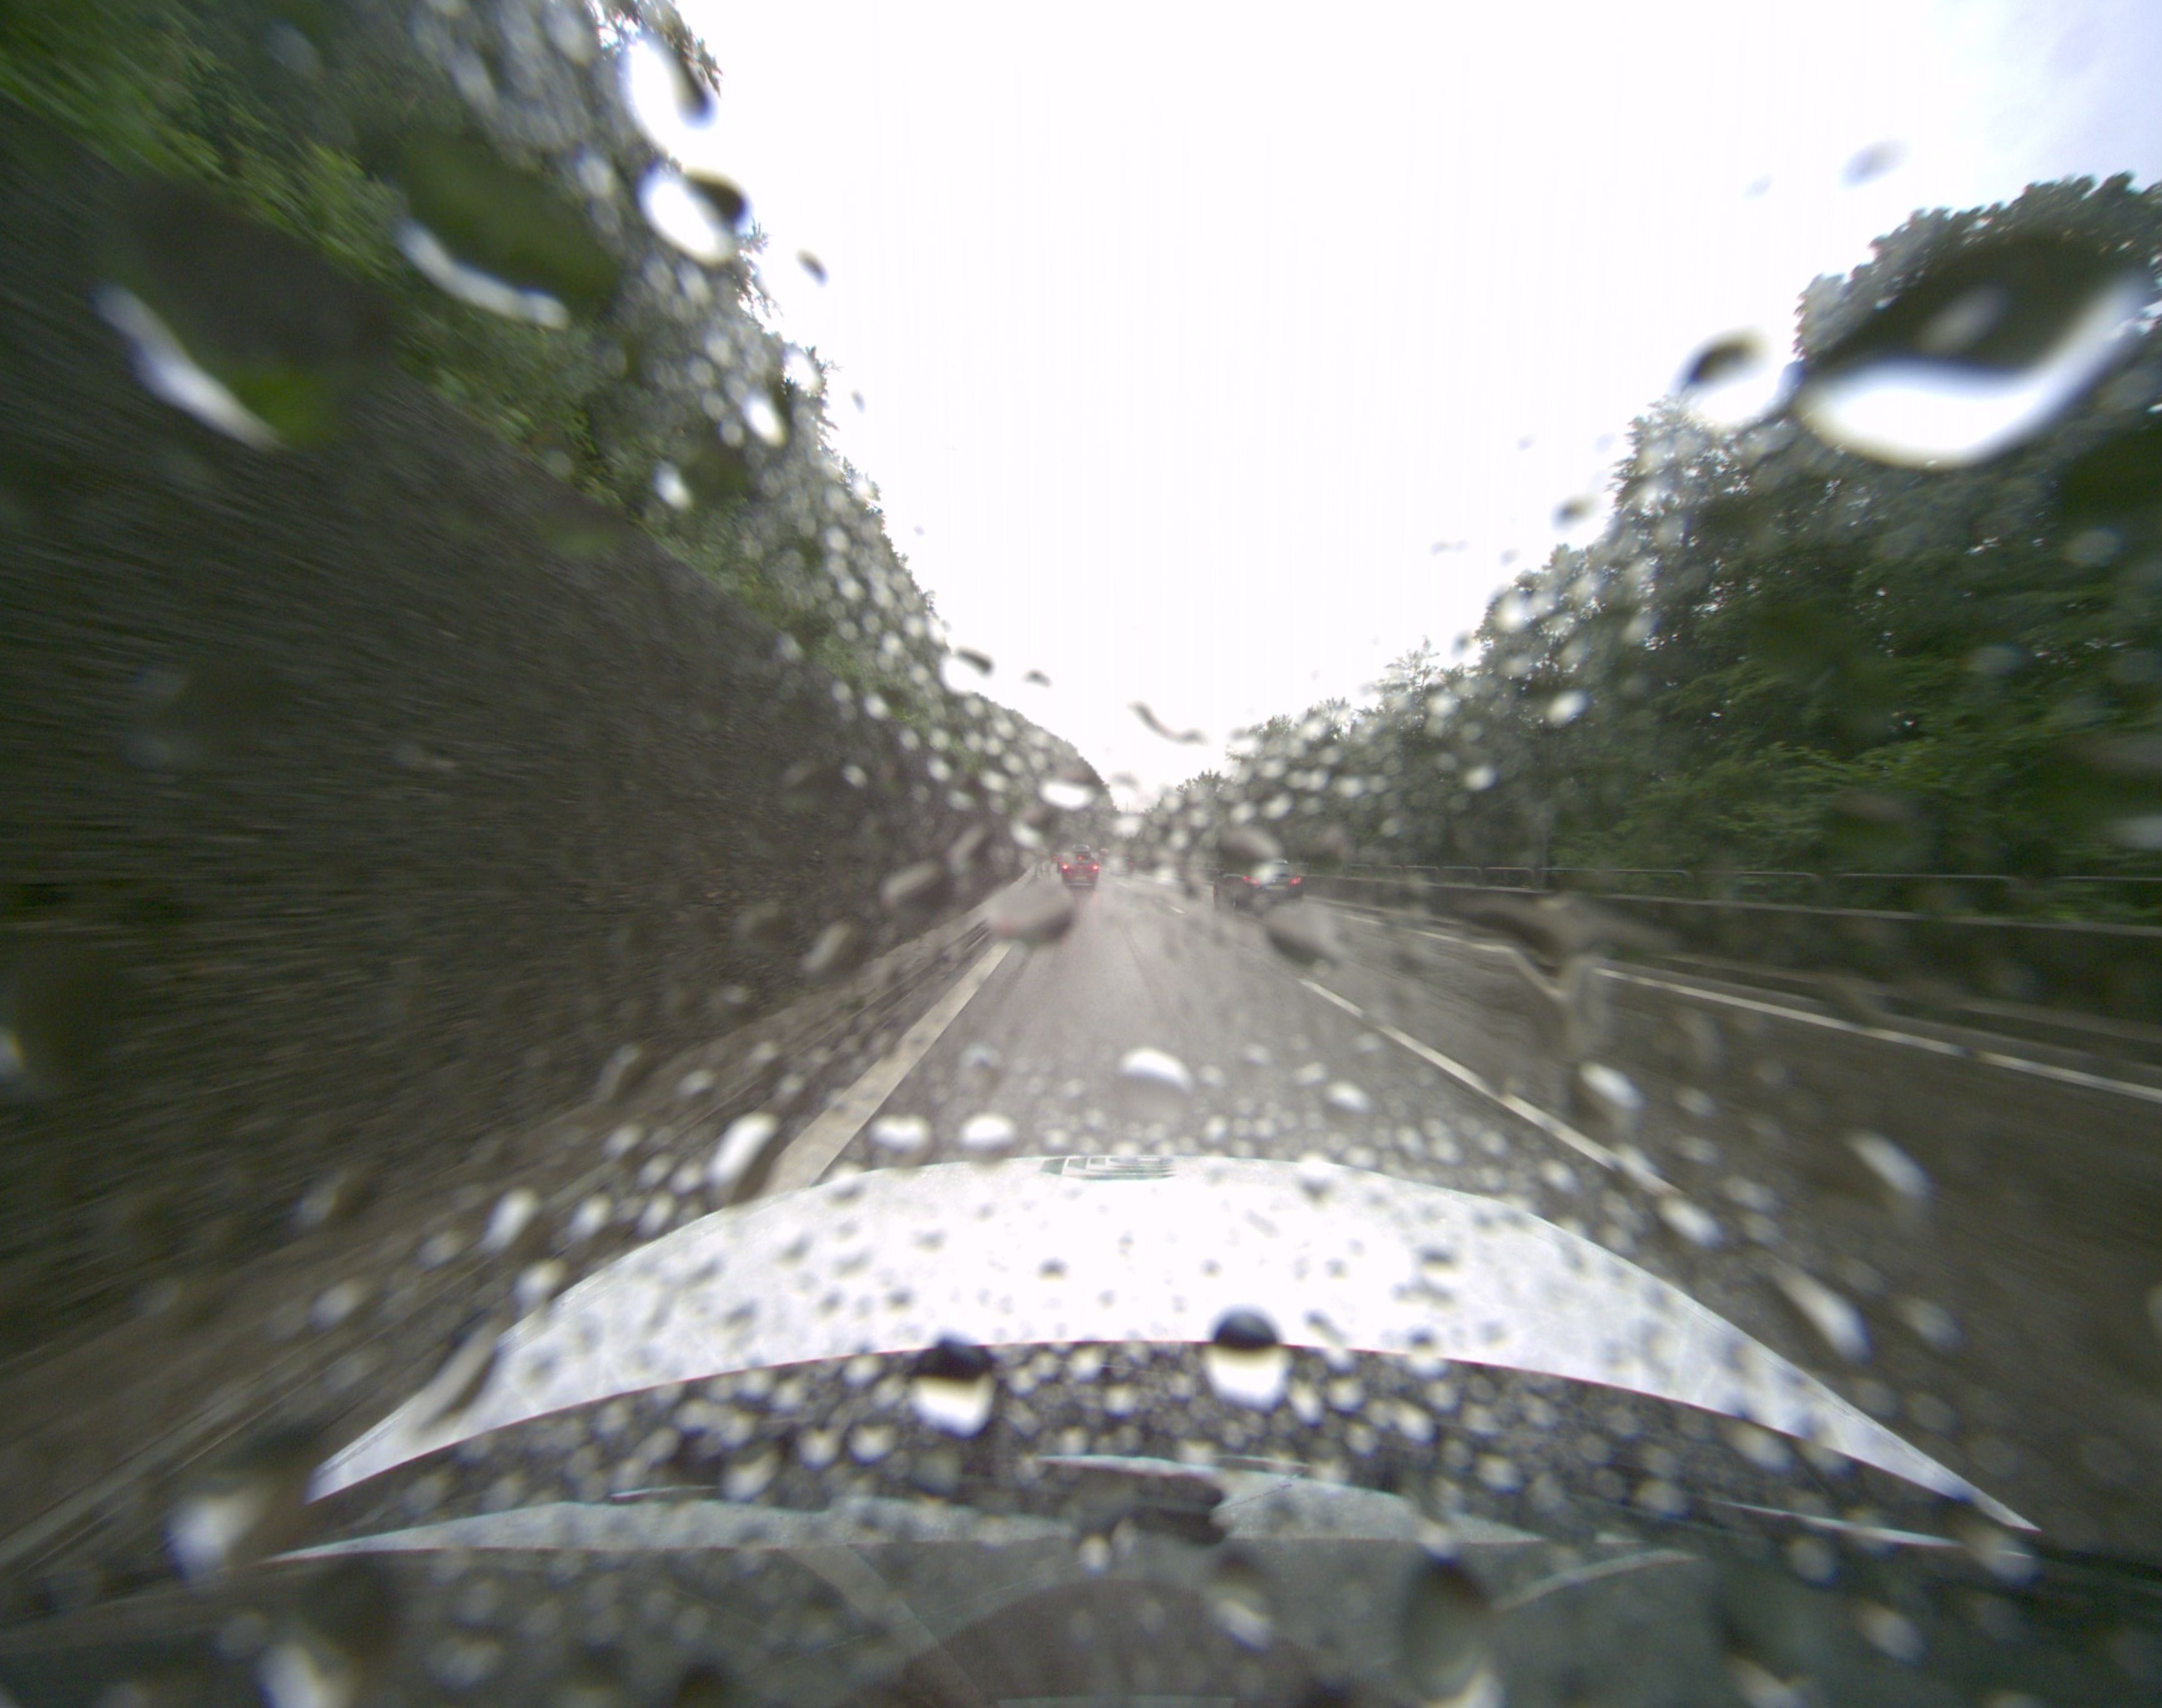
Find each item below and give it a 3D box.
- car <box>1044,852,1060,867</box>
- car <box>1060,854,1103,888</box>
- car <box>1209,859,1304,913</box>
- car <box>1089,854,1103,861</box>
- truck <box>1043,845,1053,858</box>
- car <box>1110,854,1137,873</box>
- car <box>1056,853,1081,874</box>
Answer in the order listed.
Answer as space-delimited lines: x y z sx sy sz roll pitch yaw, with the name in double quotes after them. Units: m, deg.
-4.066 0.810 114.199 1.991 2.014 3.990 0 -1 -7 "car"
0.018 0.842 40.002 1.988 1.552 3.998 -1 -1 -1 "car"
4.765 0.820 22.644 1.794 1.307 4.000 -1 0 0 "car"
4.145 0.921 219.493 2.455 2.014 4.708 0 0 -17 "car"
-7.037 -0.453 172.937 1.989 2.751 5.580 -1 0 -3 "truck"
3.556 0.793 68.772 1.988 1.552 3.998 0 0 -1 "car"
-0.980 0.813 67.323 1.987 1.684 3.998 0 -1 0 "car"
